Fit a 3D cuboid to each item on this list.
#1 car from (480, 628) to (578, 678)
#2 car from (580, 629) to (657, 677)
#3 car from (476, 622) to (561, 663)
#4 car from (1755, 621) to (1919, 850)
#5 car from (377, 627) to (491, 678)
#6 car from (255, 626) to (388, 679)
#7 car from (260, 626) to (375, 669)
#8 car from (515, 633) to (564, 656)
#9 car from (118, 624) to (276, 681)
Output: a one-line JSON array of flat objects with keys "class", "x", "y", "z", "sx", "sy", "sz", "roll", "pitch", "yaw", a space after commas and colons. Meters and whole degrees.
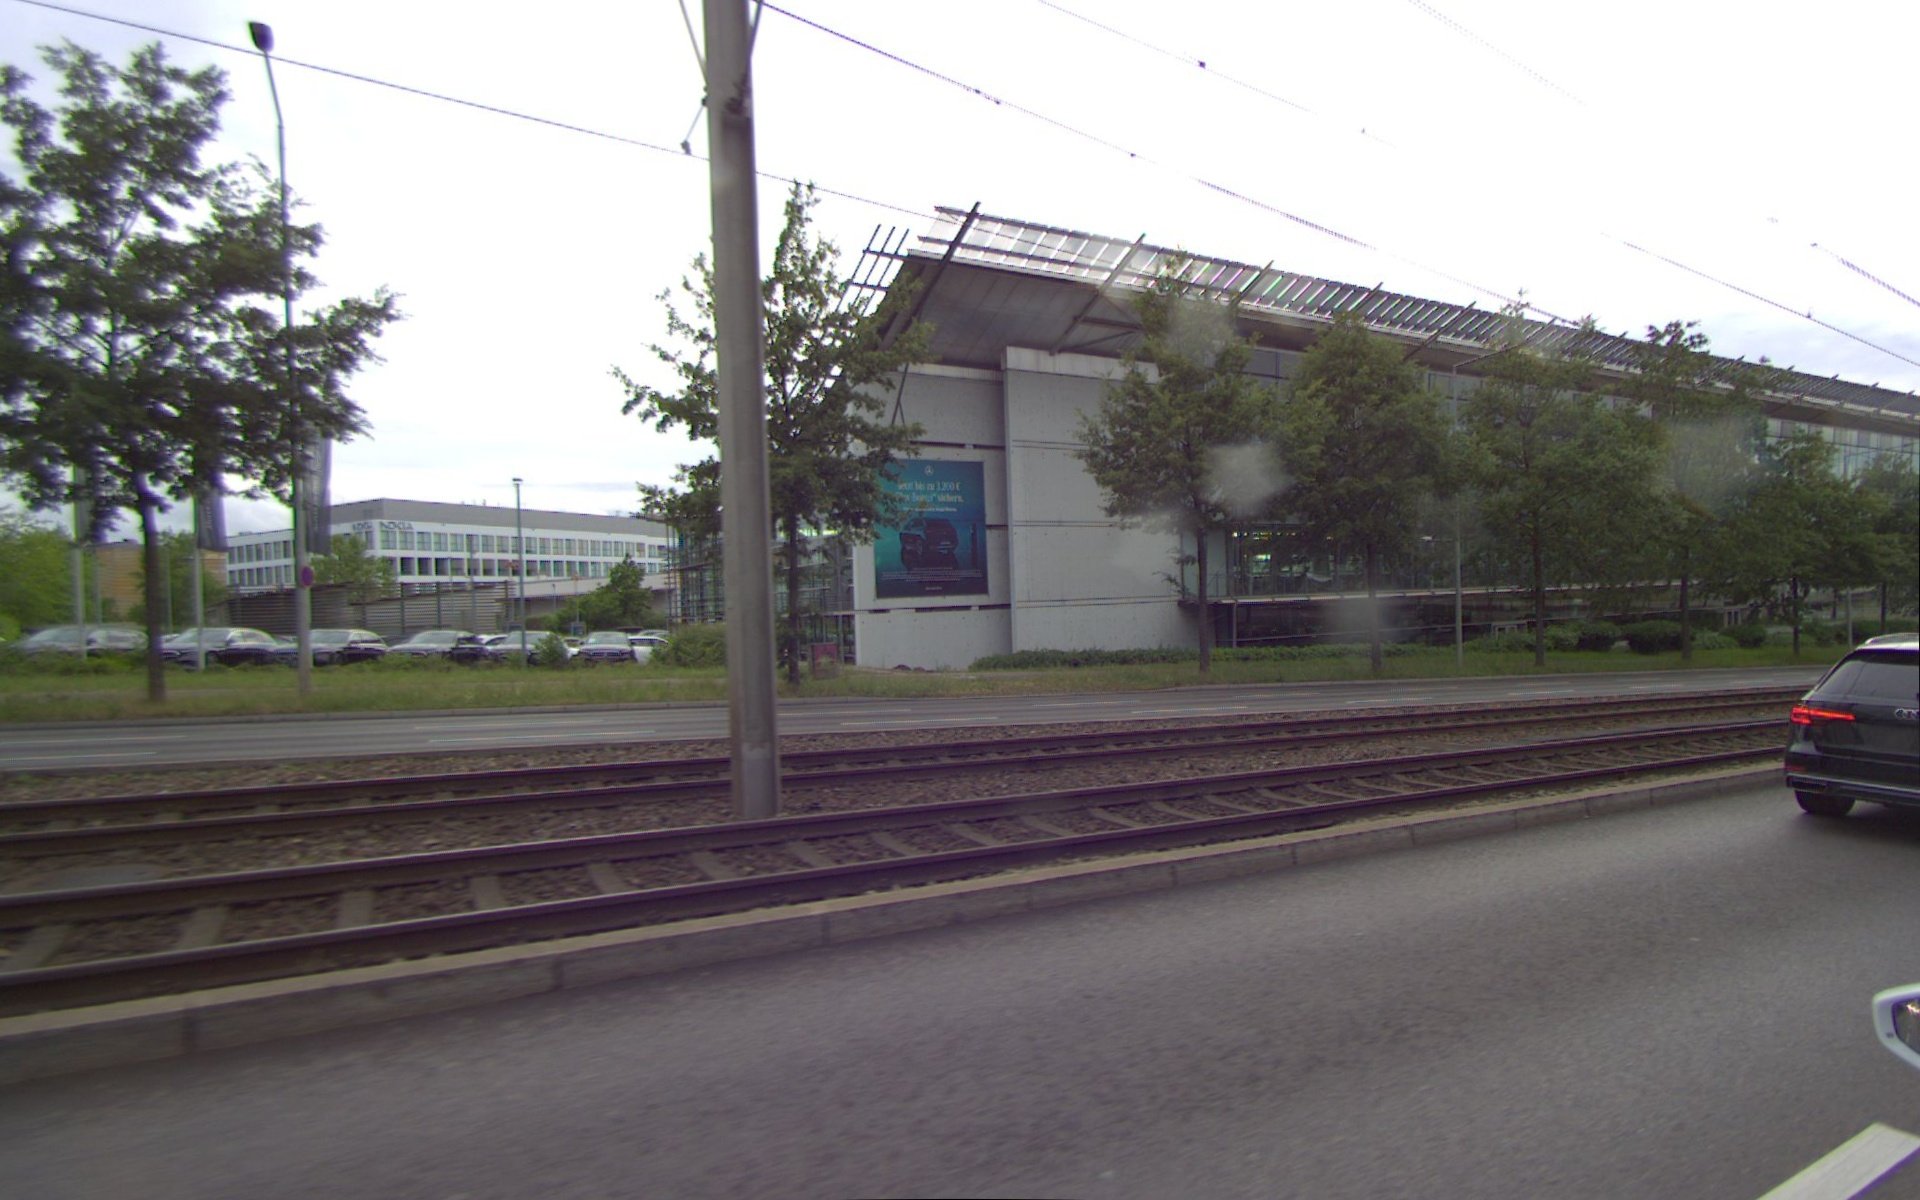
[{"class": "car", "x": -14.500, "y": 1.747, "z": 34.016, "sx": 1.769, "sy": 1.409, "sz": 3.998, "roll": 2, "pitch": 0, "yaw": -4}, {"class": "car", "x": -11.951, "y": 1.826, "z": 35.367, "sx": 1.770, "sy": 1.409, "sz": 3.995, "roll": 2, "pitch": 0, "yaw": -7}, {"class": "car", "x": -17.303, "y": 1.632, "z": 39.578, "sx": 1.769, "sy": 1.409, "sz": 3.998, "roll": 2, "pitch": 0, "yaw": -4}, {"class": "car", "x": 8.232, "y": 0.933, "z": 7.797, "sx": 4.574, "sy": 1.483, "sz": 1.755, "roll": 1, "pitch": 0, "yaw": -31}, {"class": "car", "x": -17.054, "y": 1.667, "z": 32.801, "sx": 1.769, "sy": 1.409, "sz": 3.998, "roll": 2, "pitch": 0, "yaw": -4}, {"class": "car", "x": -19.762, "y": 1.583, "z": 31.291, "sx": 1.731, "sy": 1.409, "sz": 3.998, "roll": 2, "pitch": 0, "yaw": -4}, {"class": "car", "x": -24.266, "y": 1.751, "z": 38.109, "sx": 1.768, "sy": 1.409, "sz": 4.000, "roll": 2, "pitch": 0, "yaw": 0}, {"class": "car", "x": -38.636, "y": 4.092, "z": 92.381, "sx": 3.952, "sy": 2.040, "sz": 1.984, "roll": 2, "pitch": 0, "yaw": -30}, {"class": "car", "x": -22.457, "y": 1.499, "z": 29.763, "sx": 1.769, "sy": 1.409, "sz": 3.998, "roll": 2, "pitch": 0, "yaw": -4}]
